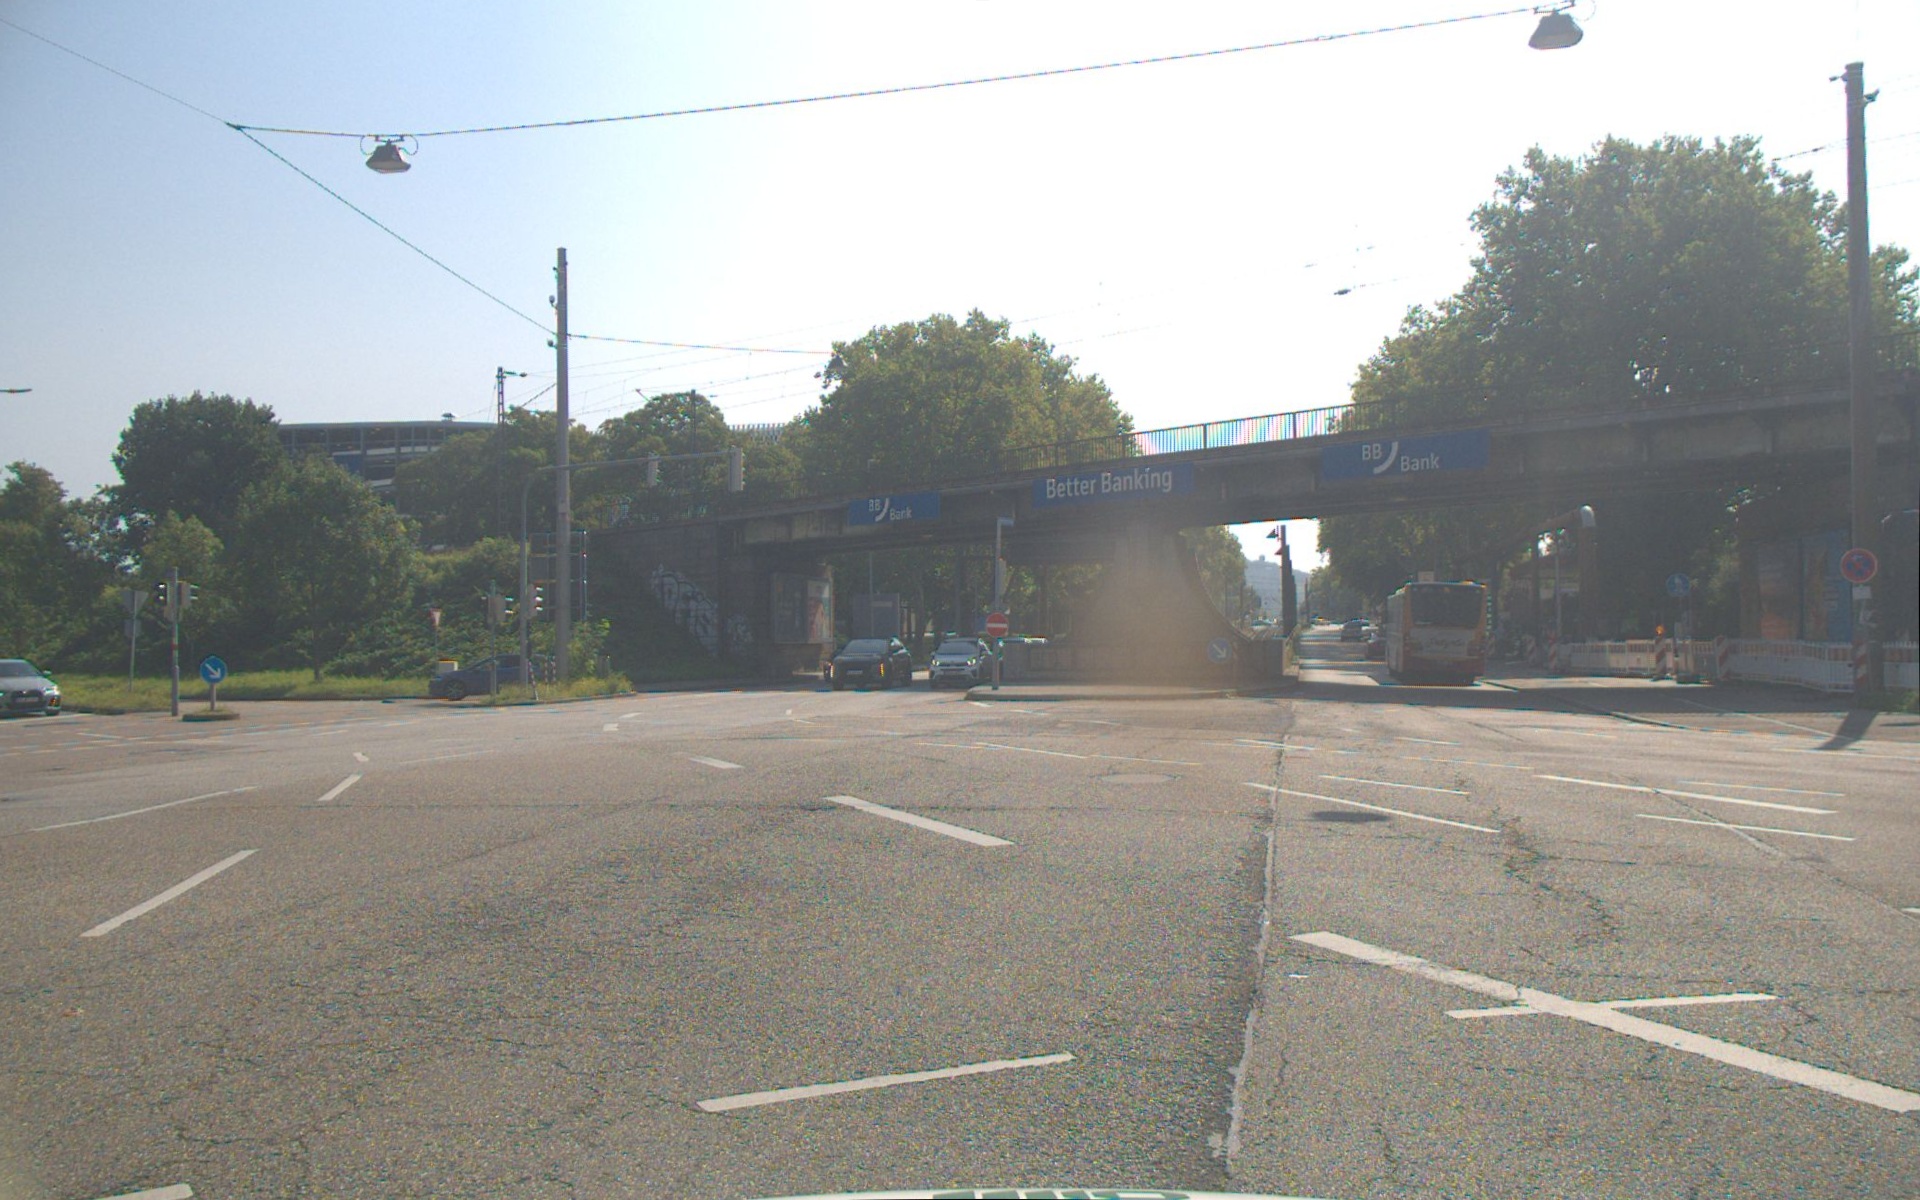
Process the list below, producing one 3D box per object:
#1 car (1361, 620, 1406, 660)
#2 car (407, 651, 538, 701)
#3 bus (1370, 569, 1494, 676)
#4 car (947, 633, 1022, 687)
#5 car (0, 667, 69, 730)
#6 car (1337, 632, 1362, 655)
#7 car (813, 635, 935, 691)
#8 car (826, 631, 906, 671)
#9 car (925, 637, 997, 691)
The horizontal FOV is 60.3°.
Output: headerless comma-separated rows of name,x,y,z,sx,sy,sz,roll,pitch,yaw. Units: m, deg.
car,22.872,2.162,89.372,1.951,2.049,4.003,1,-1,9
car,-15.676,2.446,53.384,3.920,1.453,1.779,2,-1,-15
bus,15.850,0.810,56.335,3.068,3.168,12.299,1,-1,12
car,0.871,2.005,55.800,1.951,1.600,4.351,0,1,8
car,-24.780,2.543,42.853,1.827,1.468,4.531,-2,-1,-44
car,36.213,4.030,153.962,1.951,2.049,4.003,1,-1,9
car,-2.691,1.983,52.750,1.864,1.645,4.469,-3,-2,27
car,-3.628,1.963,64.227,1.606,1.493,3.550,0,-1,25
car,0.066,1.954,51.184,1.684,1.565,3.698,-2,-2,8
